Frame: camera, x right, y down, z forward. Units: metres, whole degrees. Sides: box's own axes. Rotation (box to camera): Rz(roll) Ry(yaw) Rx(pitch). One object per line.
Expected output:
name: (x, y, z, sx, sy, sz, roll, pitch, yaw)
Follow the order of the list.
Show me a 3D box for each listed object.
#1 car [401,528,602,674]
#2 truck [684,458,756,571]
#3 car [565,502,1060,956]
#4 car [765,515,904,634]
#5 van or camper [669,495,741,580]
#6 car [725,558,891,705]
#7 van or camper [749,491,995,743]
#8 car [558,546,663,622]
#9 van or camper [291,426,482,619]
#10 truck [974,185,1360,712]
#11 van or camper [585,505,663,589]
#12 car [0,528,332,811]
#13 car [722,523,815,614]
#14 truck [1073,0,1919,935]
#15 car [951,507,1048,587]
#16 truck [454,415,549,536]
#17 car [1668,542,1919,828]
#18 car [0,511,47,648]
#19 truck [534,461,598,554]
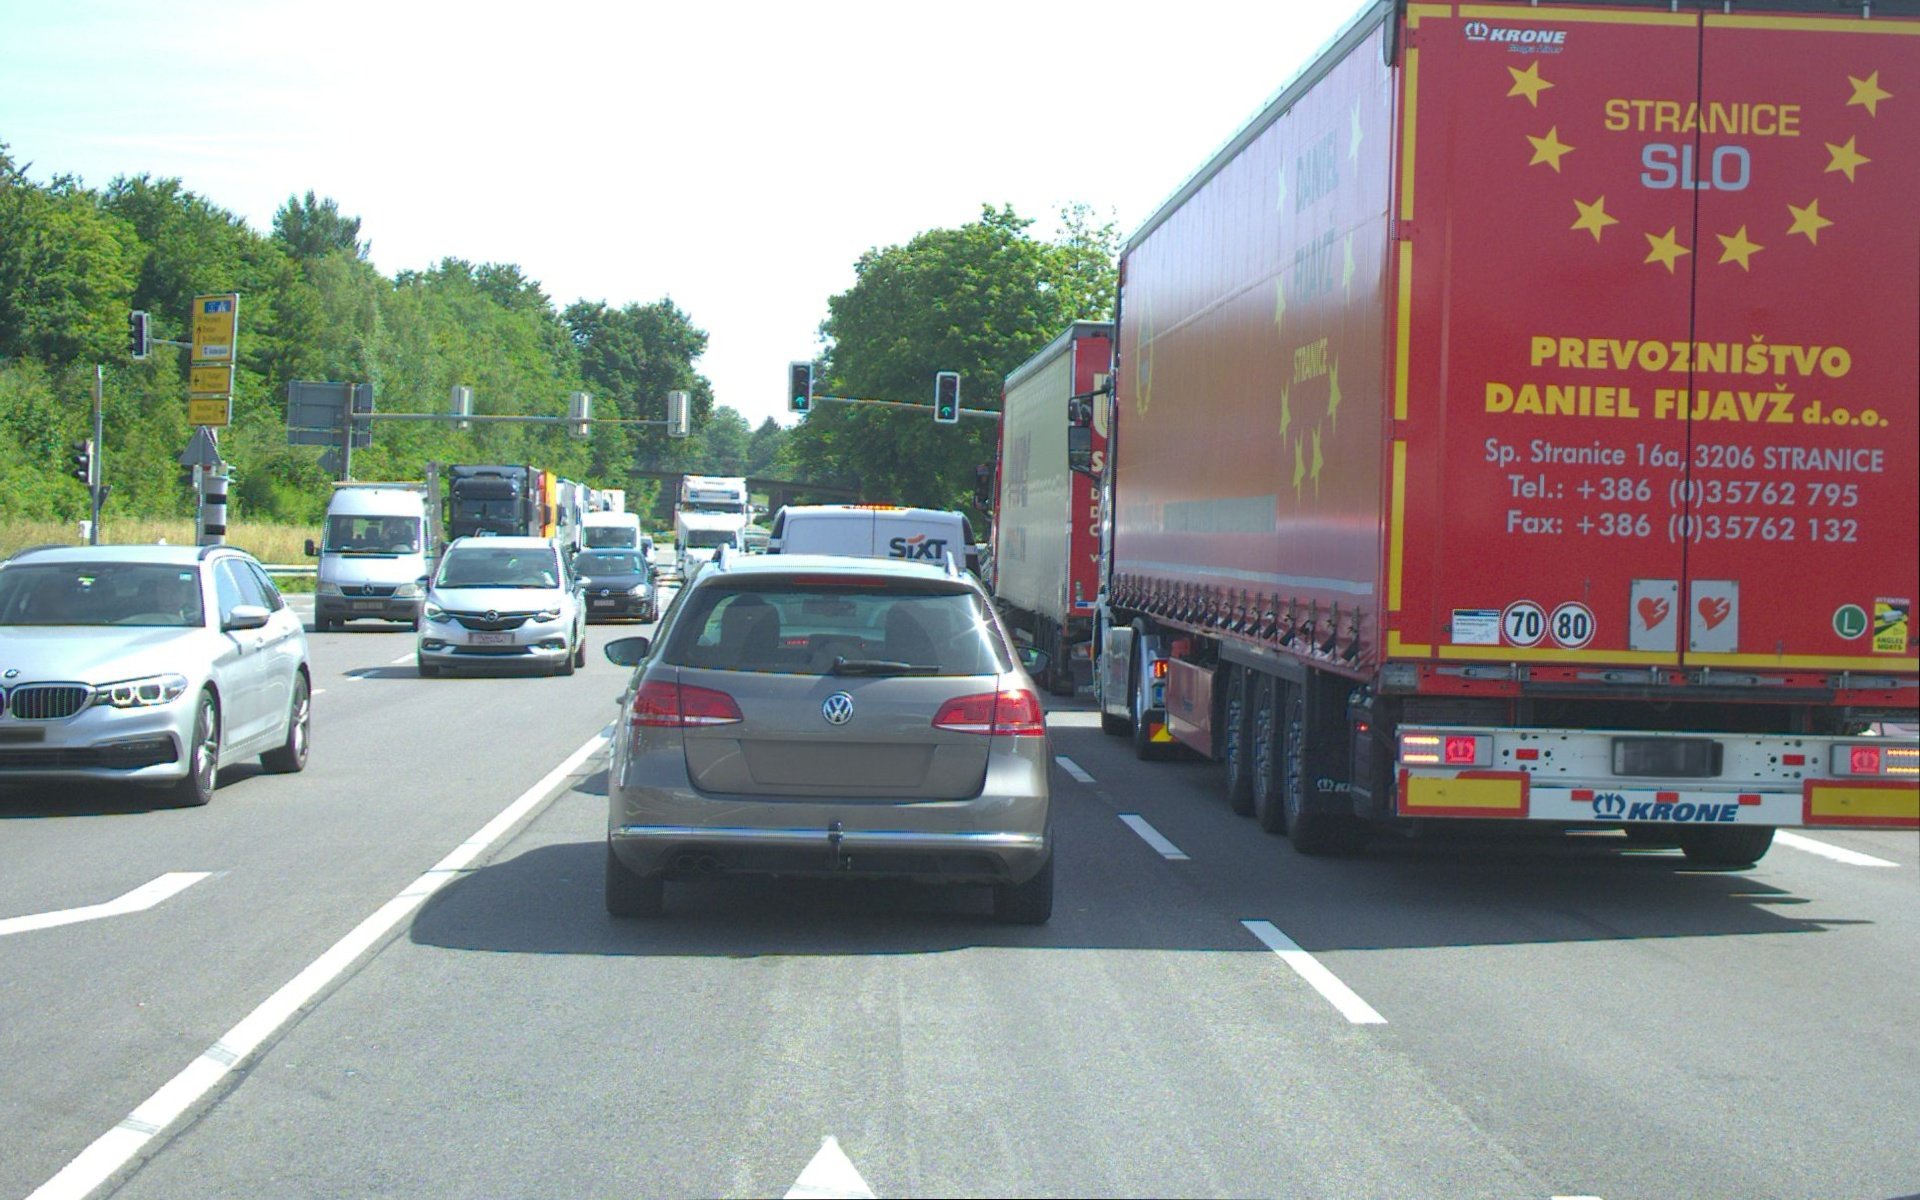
car: (-5.471, -0.022, 41.503, 1.909, 1.657, 4.181, 0, 1, -1)
truck: (-9.395, -3.330, 135.180, 2.552, 4.292, 7.596, 0, 1, -2)
car: (-0.501, 0.450, 14.308, 1.790, 1.633, 3.503, 1, 1, 1)
car: (-1.683, -0.341, 46.874, 1.727, 1.514, 3.312, 2, 0, 0)
van or camper: (-8.900, -2.150, 120.338, 2.224, 2.831, 5.711, 2, 0, -2)
car: (-1.676, 0.327, 38.413, 1.727, 1.514, 3.312, 2, 0, -2)
van or camper: (-0.763, 0.099, 28.619, 1.852, 1.899, 3.785, 2, 1, -3)
car: (-6.706, -0.328, 66.224, 1.666, 1.404, 3.926, 0, 1, -1)
van or camper: (-10.060, -1.352, 60.815, 2.207, 3.045, 5.903, 6, 1, -1)
truck: (2.118, -1.674, 43.081, 3.062, 5.203, 17.009, 2, 1, -2)
van or camper: (-10.640, -1.701, 109.183, 2.173, 2.542, 4.171, 2, 1, -3)
car: (-5.216, 0.330, 21.014, 1.909, 1.516, 4.781, 1, 1, -1)
car: (-4.187, -0.678, 75.526, 1.727, 1.902, 3.312, 2, 0, 1)
truck: (2.851, -0.902, 22.613, 2.957, 4.255, 16.586, 2, 1, -2)
car: (0.778, -1.058, 69.532, 1.726, 1.514, 3.312, 2, 0, -2)
truck: (-14.791, -3.972, 111.177, 2.812, 3.773, 6.991, 0, 1, -6)
car: (5.941, 0.473, 22.290, 1.819, 1.679, 4.000, 1, 1, 0)
car: (-13.874, -0.299, 43.071, 4.521, 1.687, 2.128, 1, 1, 30)
truck: (-16.326, -3.811, 142.836, 2.532, 3.773, 6.991, 0, 1, -6)
